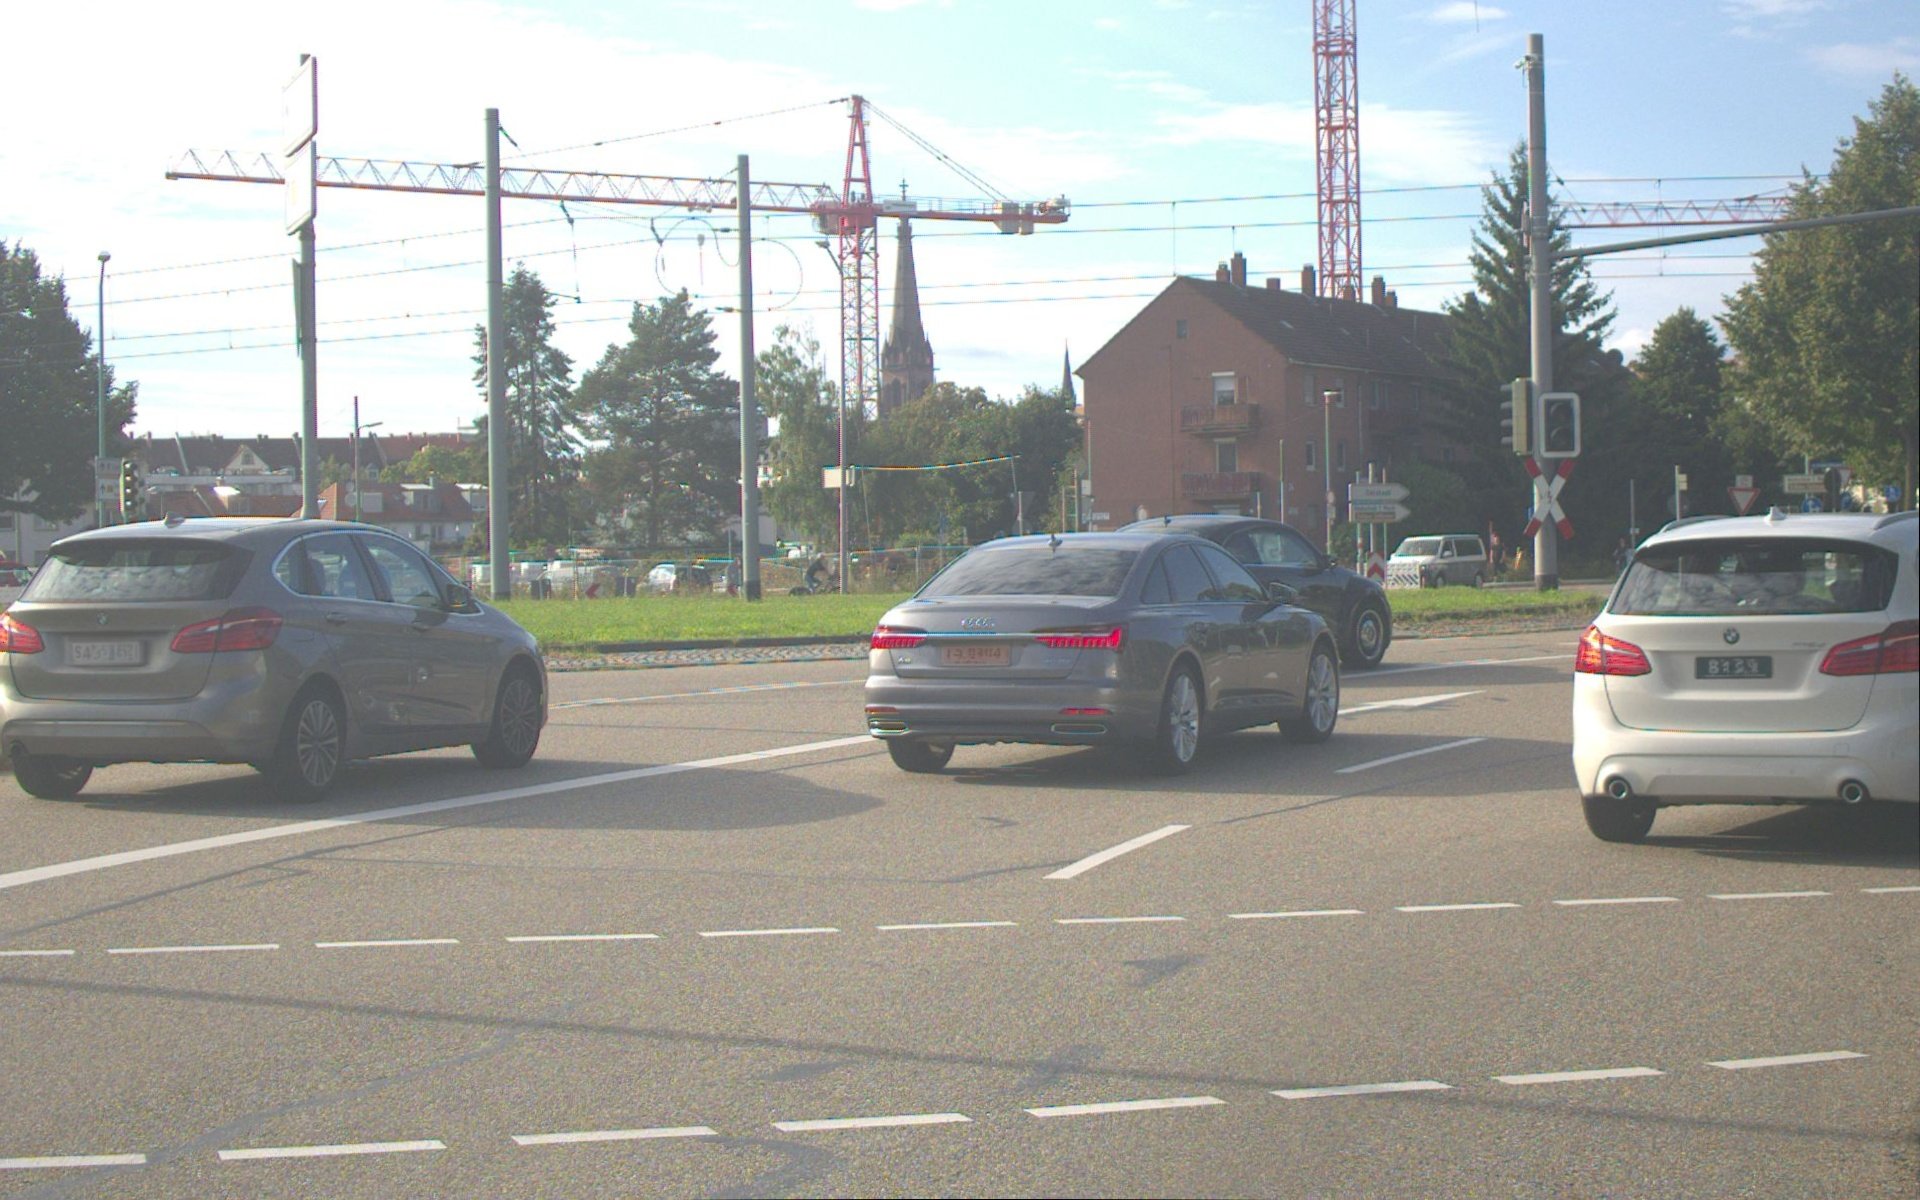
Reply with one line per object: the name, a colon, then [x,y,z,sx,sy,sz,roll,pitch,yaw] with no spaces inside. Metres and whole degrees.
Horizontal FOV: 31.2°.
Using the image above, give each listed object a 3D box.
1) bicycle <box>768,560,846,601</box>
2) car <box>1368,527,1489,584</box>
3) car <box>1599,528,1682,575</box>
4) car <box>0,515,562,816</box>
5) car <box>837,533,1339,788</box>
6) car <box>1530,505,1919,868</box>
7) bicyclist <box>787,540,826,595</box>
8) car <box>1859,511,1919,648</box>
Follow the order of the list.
bicycle: [-4.526,-0.589,101.807,2.144,1.133,0.772,-2,1,10]
car: [16.006,-1.521,117.229,1.900,1.896,4.650,1,1,40]
car: [27.807,-1.987,140.380,1.899,1.896,4.653,0,1,30]
car: [-3.966,0.310,20.076,1.769,1.567,4.064,0,1,17]
car: [0.957,0.309,21.976,1.852,1.440,4.710,0,1,20]
car: [4.466,0.343,17.182,1.853,1.567,4.448,0,1,28]
bicyclist: [-4.548,-0.970,101.804,0.957,1.569,0.772,-2,1,10]
car: [11.729,-0.240,38.471,1.854,1.473,4.446,1,1,34]
